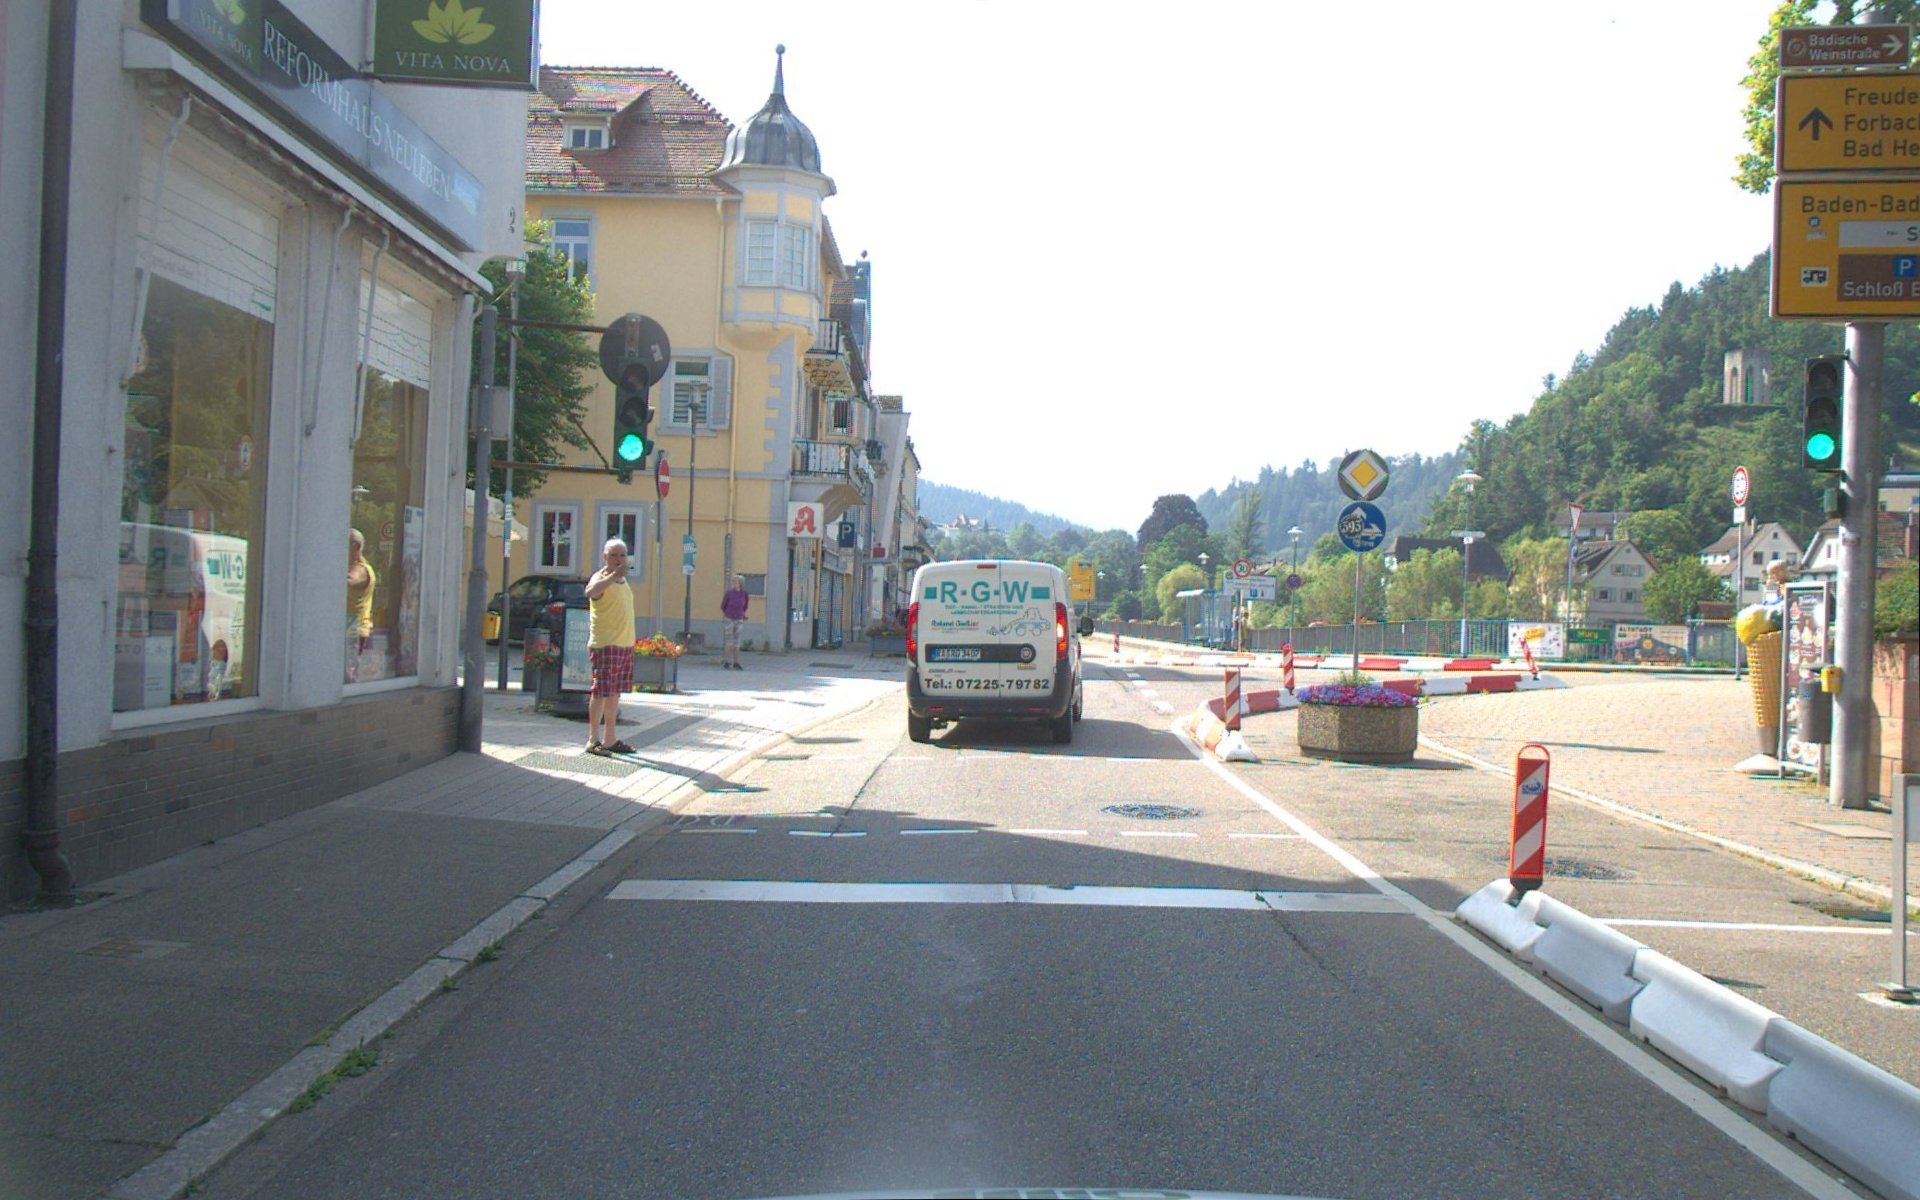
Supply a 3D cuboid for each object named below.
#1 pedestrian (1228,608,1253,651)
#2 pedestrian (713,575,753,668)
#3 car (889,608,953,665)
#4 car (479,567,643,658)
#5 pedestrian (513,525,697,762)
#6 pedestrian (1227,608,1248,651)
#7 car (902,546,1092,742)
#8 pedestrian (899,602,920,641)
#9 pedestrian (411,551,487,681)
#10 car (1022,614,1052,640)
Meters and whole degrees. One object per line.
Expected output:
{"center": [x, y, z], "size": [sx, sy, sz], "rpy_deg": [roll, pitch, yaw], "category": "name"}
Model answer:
{"center": [11.384, 1.196, 67.217], "size": [0.848, 1.736, 0.777], "rpy_deg": [2, -1, 2], "category": "pedestrian"}
{"center": [-4.359, 0.410, 31.750], "size": [0.665, 1.744, 0.616], "rpy_deg": [2, 0, -6], "category": "pedestrian"}
{"center": [-1.145, 1.056, 49.176], "size": [1.809, 1.596, 3.567], "rpy_deg": [1, -1, -1], "category": "car"}
{"center": [-8.139, 0.222, 33.498], "size": [1.901, 1.569, 3.911], "rpy_deg": [3, 1, -35], "category": "car"}
{"center": [-3.001, 0.370, 14.029], "size": [0.999, 1.846, 0.906], "rpy_deg": [6, -1, 29], "category": "pedestrian"}
{"center": [11.373, 1.200, 67.832], "size": [0.773, 1.736, 0.492], "rpy_deg": [2, -1, 2], "category": "pedestrian"}
{"center": [0.533, 0.429, 18.655], "size": [1.805, 1.939, 4.318], "rpy_deg": [0, 0, 6], "category": "car"}
{"center": [-2.229, 0.951, 72.971], "size": [0.675, 1.726, 0.659], "rpy_deg": [1, -1, 28], "category": "pedestrian"}
{"center": [-6.868, 0.232, 22.250], "size": [0.558, 1.687, 0.884], "rpy_deg": [2, -3, 9], "category": "pedestrian"}
{"center": [5.470, 1.889, 117.624], "size": [1.953, 1.691, 4.000], "rpy_deg": [2, 0, 0], "category": "car"}
